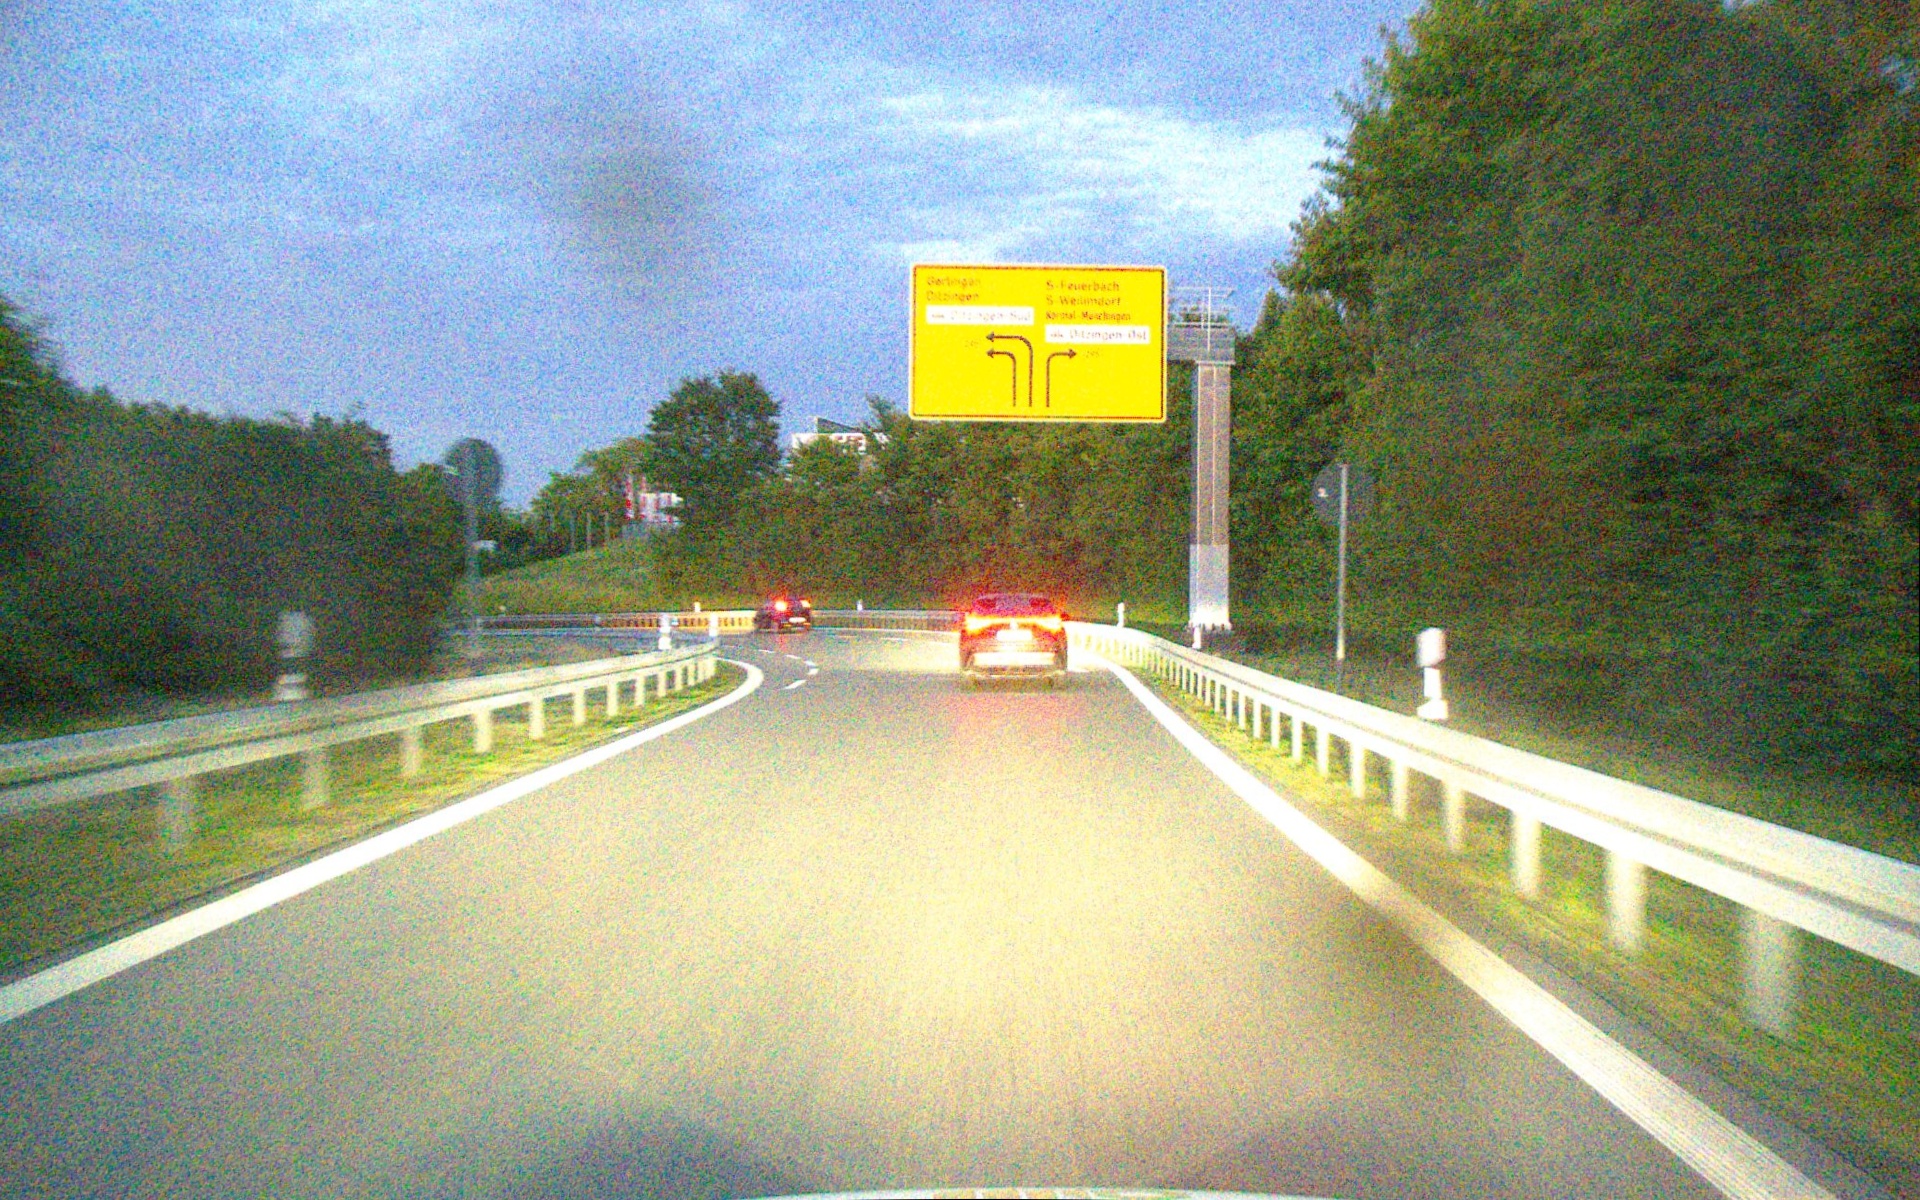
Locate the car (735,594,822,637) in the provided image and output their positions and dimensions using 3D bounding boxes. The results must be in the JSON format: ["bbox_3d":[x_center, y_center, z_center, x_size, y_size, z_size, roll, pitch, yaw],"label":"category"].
[{"bbox_3d":[-7.830,0.657,71.117,1.978,1.626,3.949,3,0,-36],"label":"car"}]

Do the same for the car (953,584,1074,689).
[{"bbox_3d":[1.006,0.585,28.794,1.952,1.688,4.317,0,0,4],"label":"car"}]
